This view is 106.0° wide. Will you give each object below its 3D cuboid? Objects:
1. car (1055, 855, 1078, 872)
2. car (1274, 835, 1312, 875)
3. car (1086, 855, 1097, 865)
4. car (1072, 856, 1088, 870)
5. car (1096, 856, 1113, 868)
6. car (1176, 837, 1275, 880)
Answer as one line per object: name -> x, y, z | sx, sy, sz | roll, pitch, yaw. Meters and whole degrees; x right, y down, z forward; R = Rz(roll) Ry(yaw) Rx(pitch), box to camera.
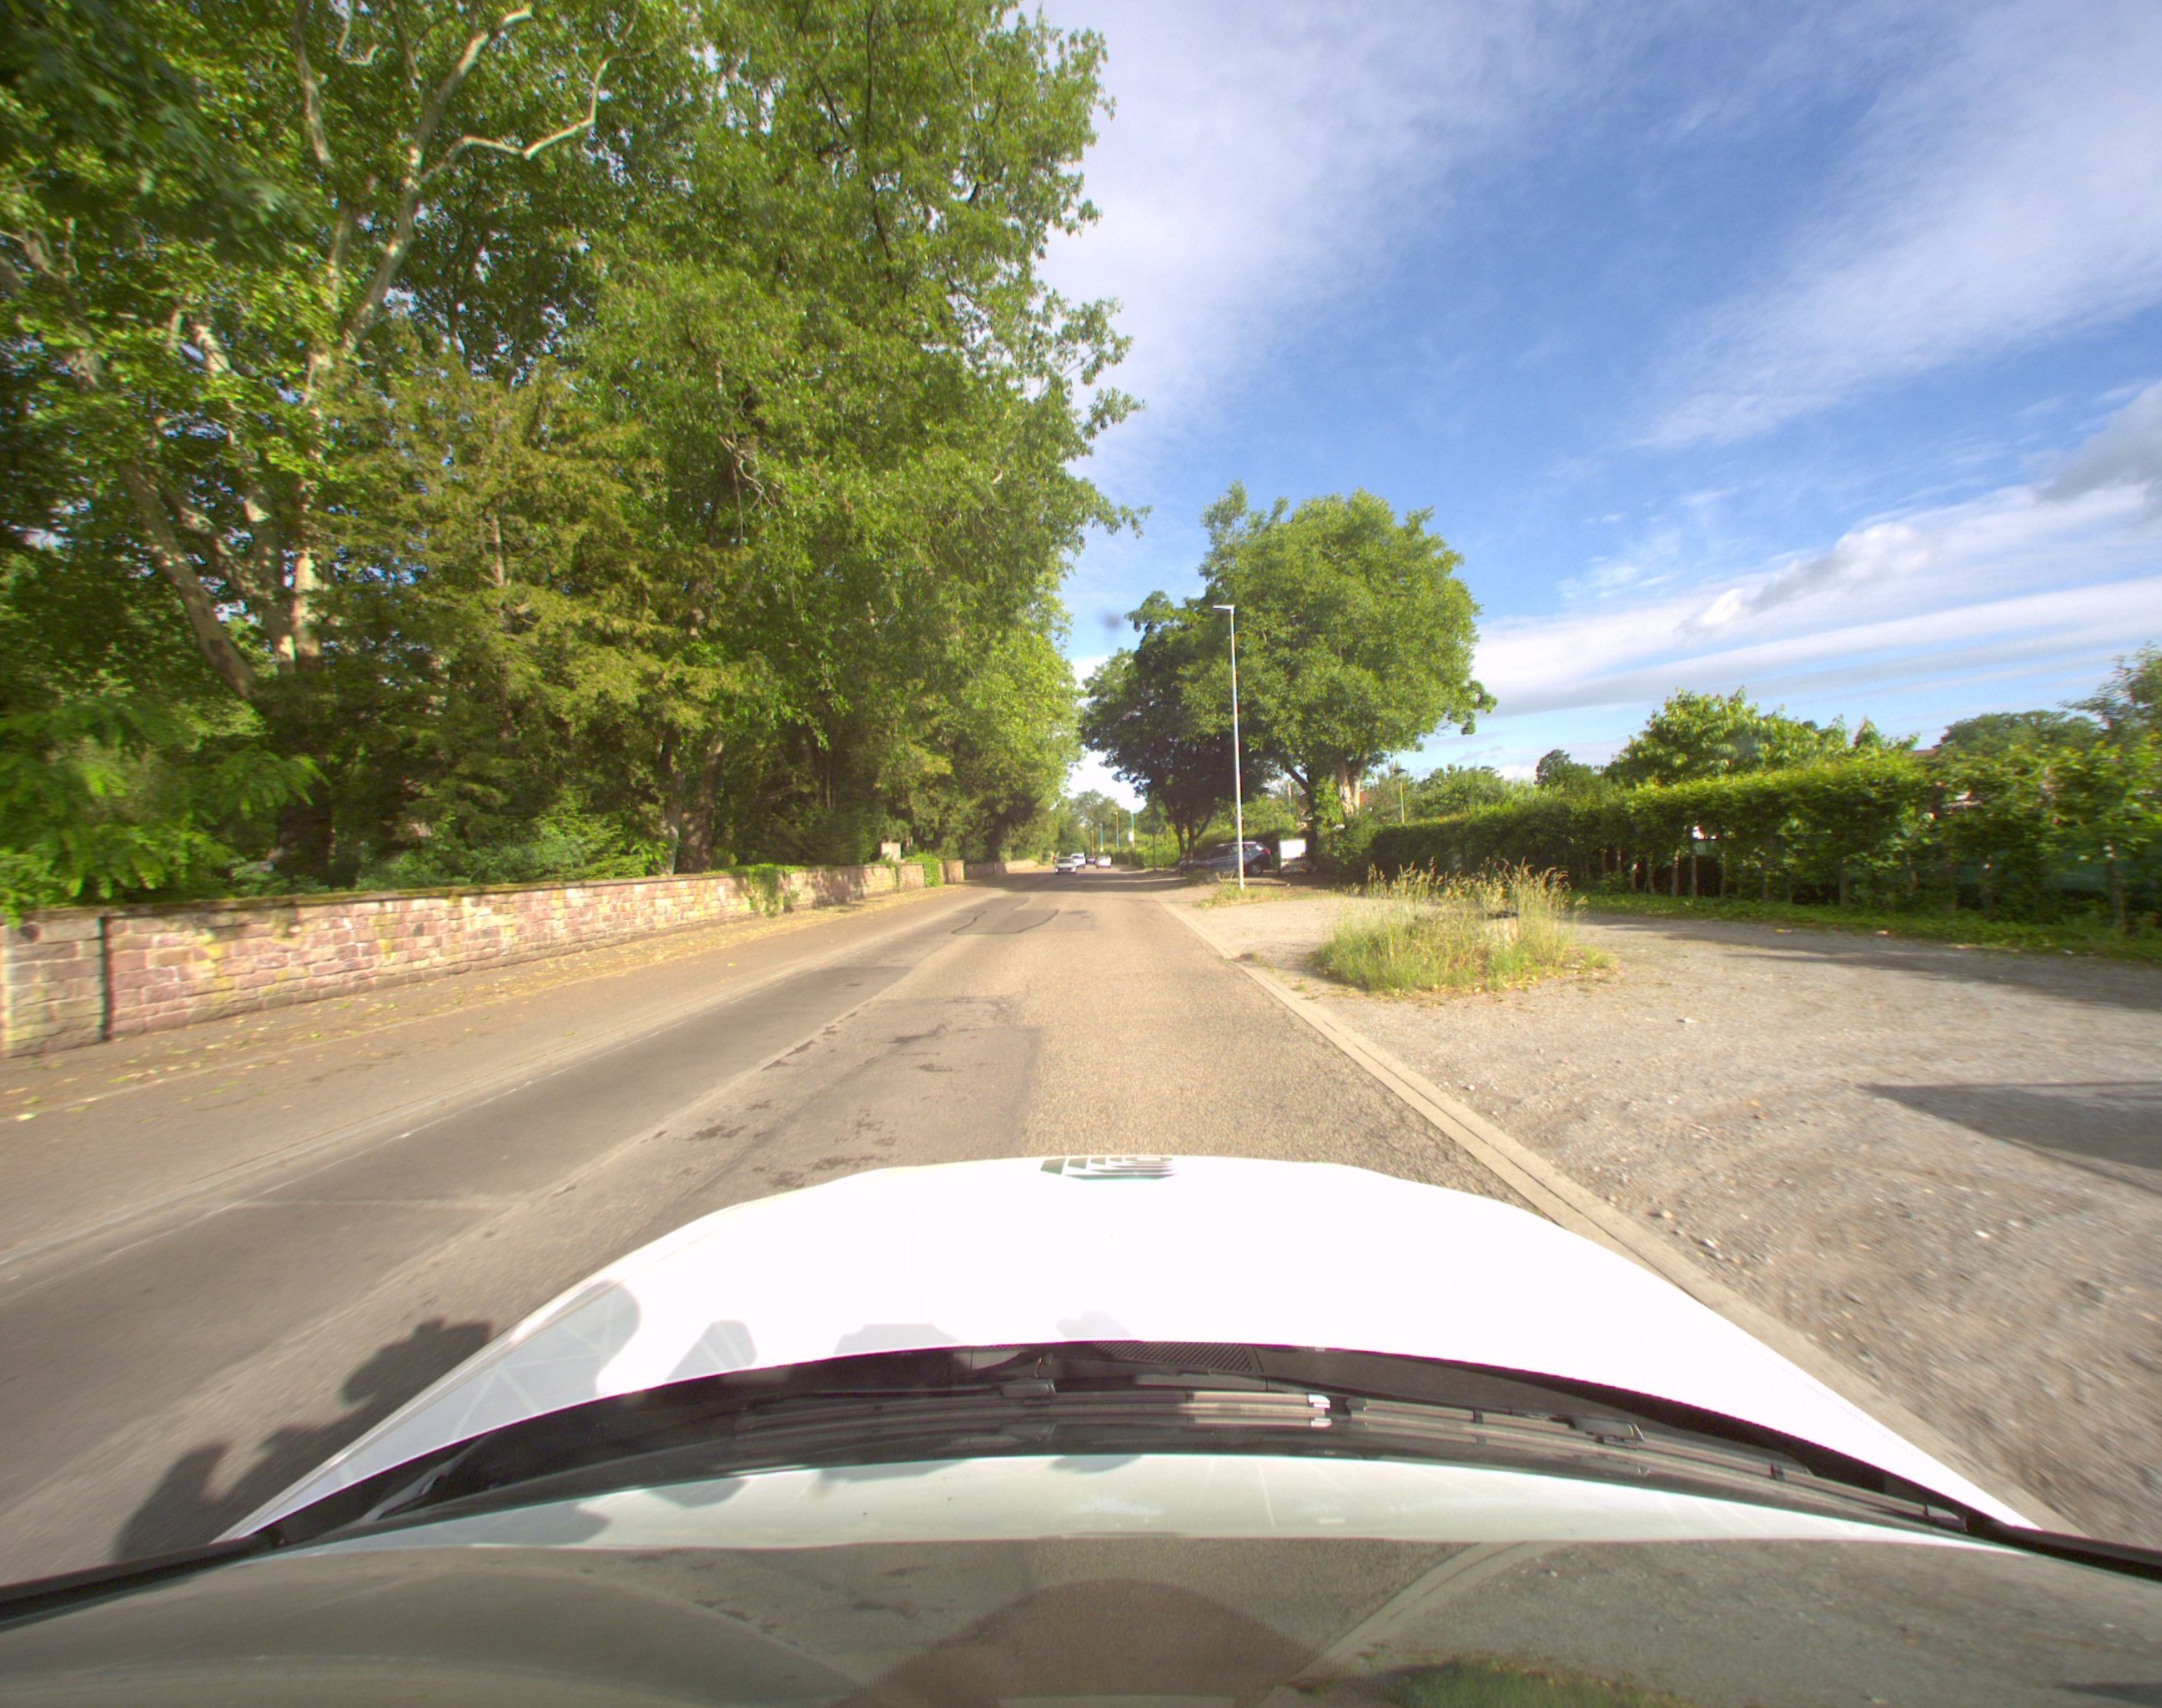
car -> -1.251, 0.810, 69.784 | 1.881, 1.372, 4.052 | -2, 0, -1
car -> 9.679, 0.002, 37.345 | 1.342, 1.632, 4.125 | -5, 0, 12
car -> 1.938, 1.068, 147.932 | 1.880, 1.613, 4.054 | -2, 0, 0
car -> -0.119, 1.036, 98.433 | 1.880, 1.564, 4.054 | -2, 0, 0
car -> 2.722, 0.912, 96.228 | 1.880, 1.372, 4.054 | -2, 0, 0
car -> 6.903, 0.192, 39.324 | 4.387, 1.646, 2.001 | -5, 0, 1
